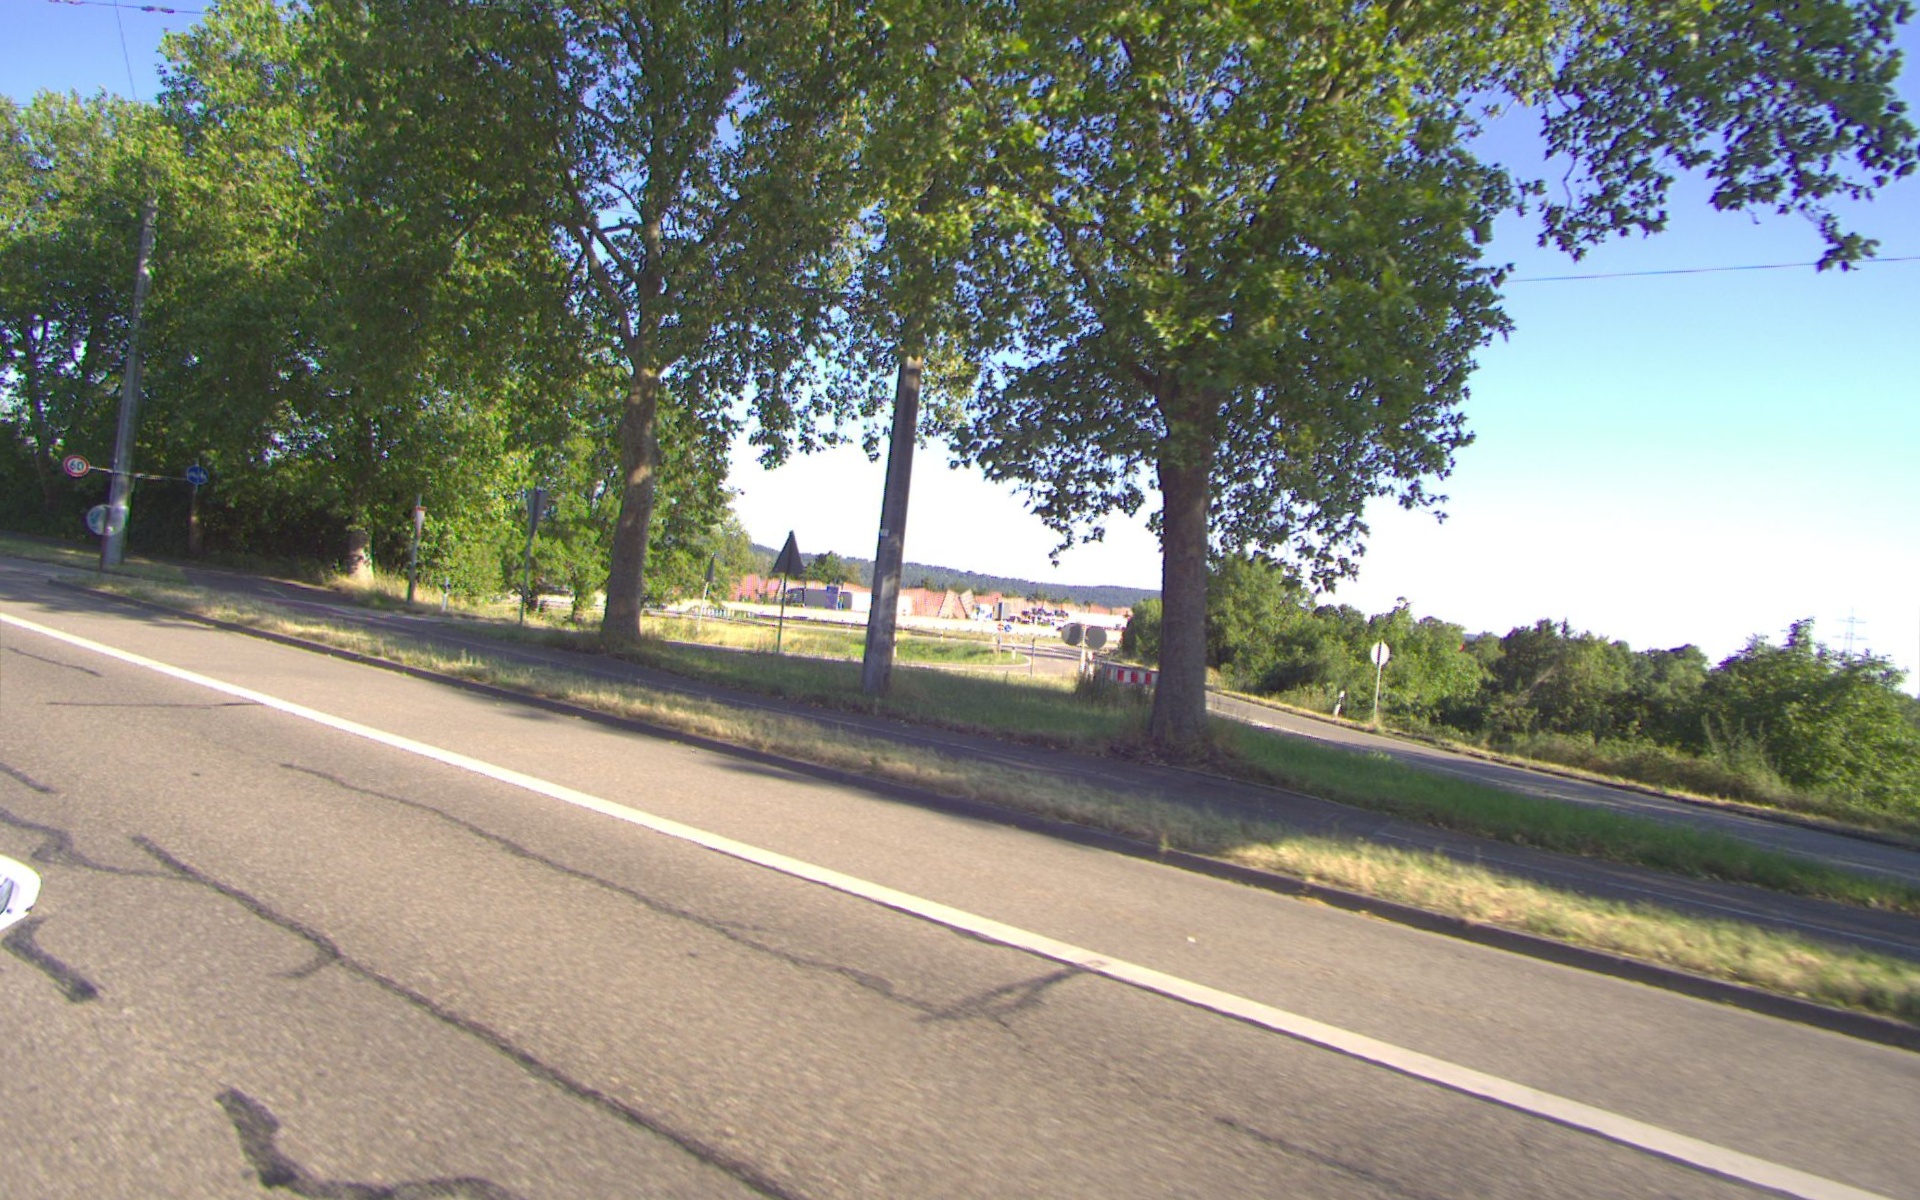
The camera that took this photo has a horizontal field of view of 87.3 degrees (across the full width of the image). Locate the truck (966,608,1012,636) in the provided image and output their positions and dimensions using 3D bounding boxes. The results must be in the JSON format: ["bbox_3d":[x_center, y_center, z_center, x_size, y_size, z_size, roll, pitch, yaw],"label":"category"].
[{"bbox_3d":[5.192,3.977,180.501,7.260,3.882,3.113,9,-2,-28],"label":"truck"}]

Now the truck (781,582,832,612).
[{"bbox_3d":[-24.978,-0.513,164.053,7.260,3.882,3.113,9,-2,-28],"label":"truck"}]

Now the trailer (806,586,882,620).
[{"bbox_3d":[-19.163,0.479,167.204,11.934,3.882,3.113,9,-2,-28],"label":"trailer"}]

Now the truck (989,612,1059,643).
[{"bbox_3d":[11.798,5.064,184.048,12.832,3.882,3.113,9,-2,-28],"label":"truck"}]

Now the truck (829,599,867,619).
[{"bbox_3d":[-18.997,1.510,170.726,5.772,2.459,1.987,9,-2,-28],"label":"truck"}]

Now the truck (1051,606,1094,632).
[{"bbox_3d":[21.606,3.593,193.236,7.257,3.882,3.114,9,-2,-27],"label":"truck"}]

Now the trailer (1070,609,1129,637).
[{"bbox_3d":[27.268,4.592,196.151,11.269,3.882,3.114,9,-2,-27],"label":"trailer"}]
